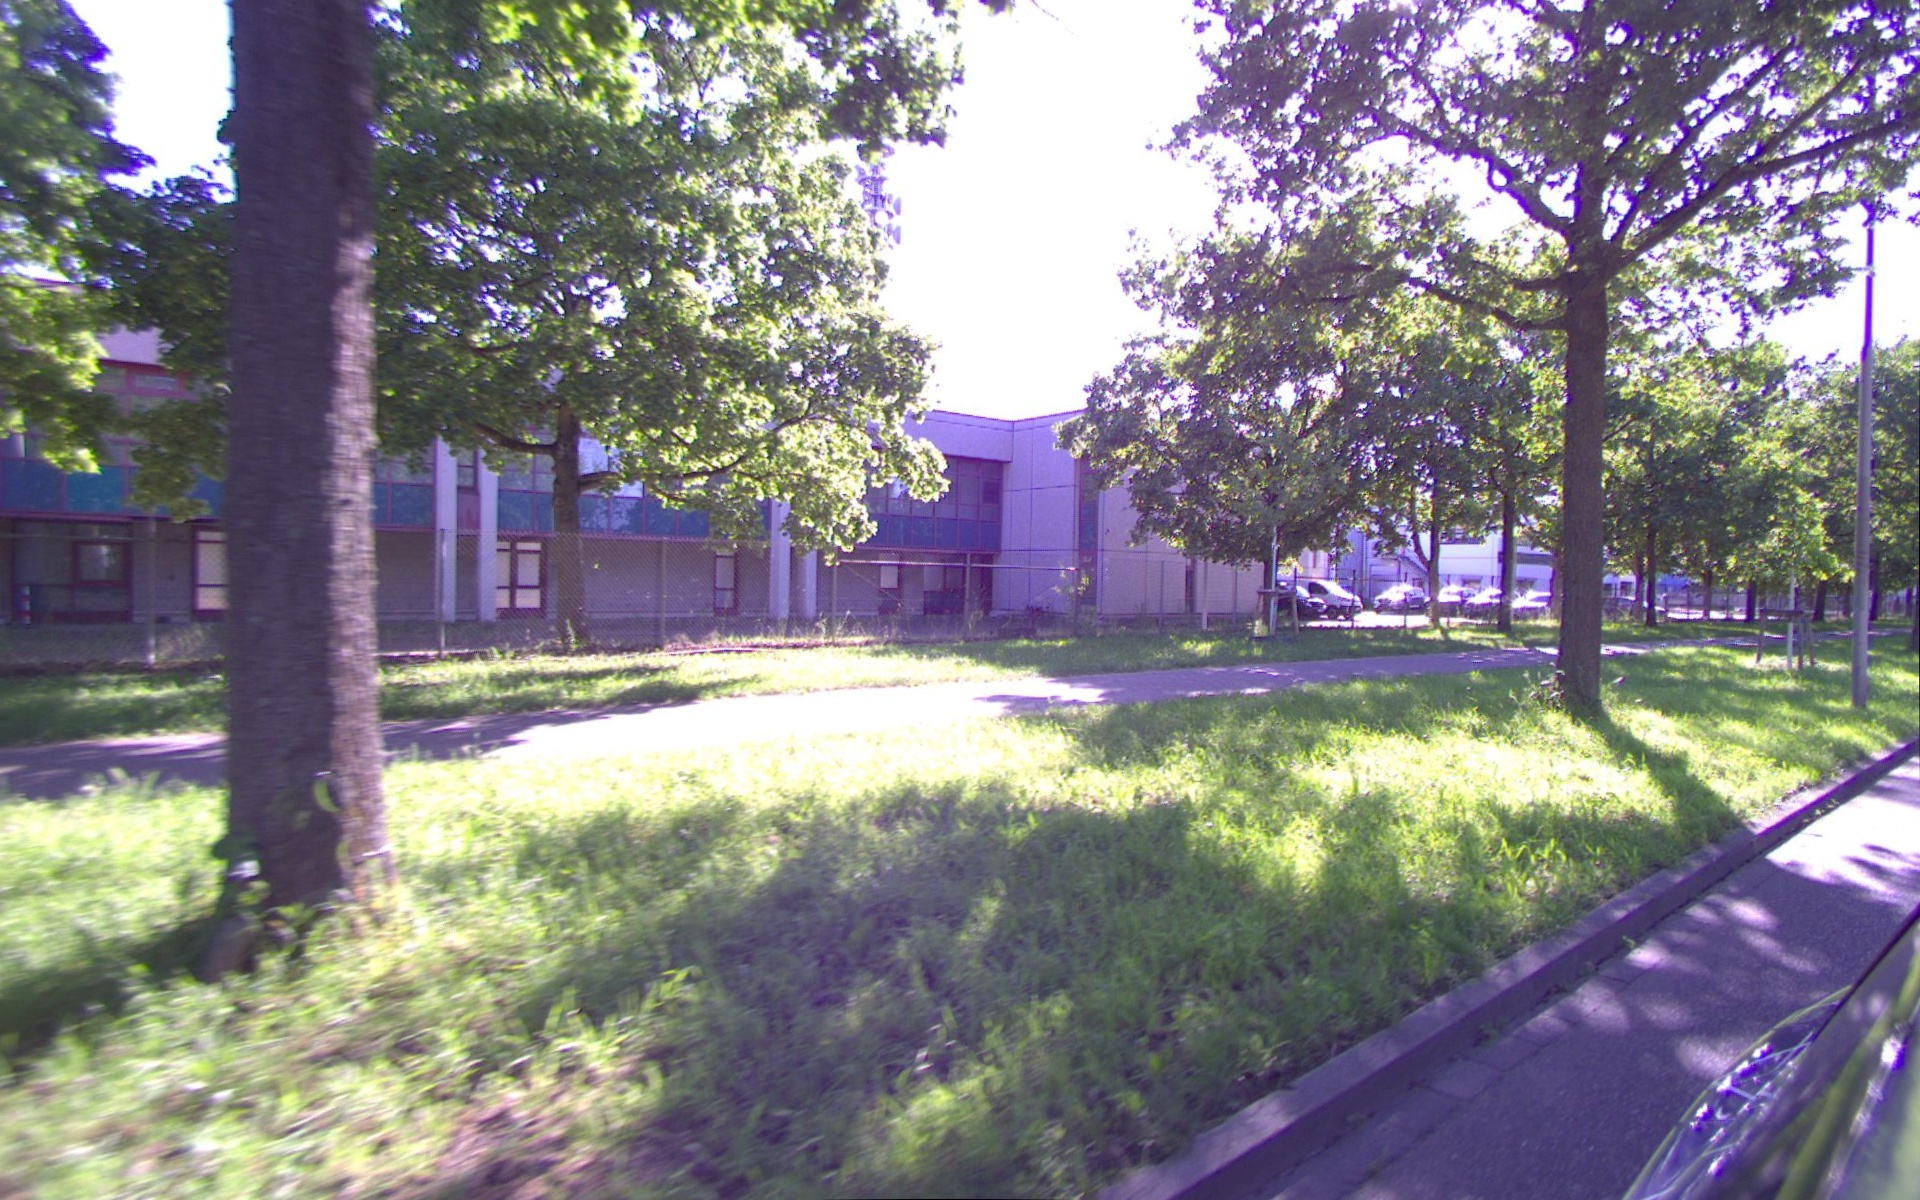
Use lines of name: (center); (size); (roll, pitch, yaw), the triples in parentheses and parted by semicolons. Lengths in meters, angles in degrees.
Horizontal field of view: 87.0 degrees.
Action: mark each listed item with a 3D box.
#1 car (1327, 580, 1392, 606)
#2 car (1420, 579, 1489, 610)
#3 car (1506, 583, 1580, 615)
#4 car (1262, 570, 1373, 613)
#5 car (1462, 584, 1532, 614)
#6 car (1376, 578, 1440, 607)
car: (26.106, -0.481, 66.086); (4.369, 1.677, 1.701); (0, 0, -33)
car: (29.104, -0.321, 59.542); (4.377, 1.694, 1.998); (0, 2, -40)
car: (31.895, -0.077, 55.299); (4.632, 1.626, 1.998); (-1, 2, -40)
car: (18.400, -0.498, 52.292); (1.863, 1.983, 5.071); (0, 3, -42)
car: (30.704, -0.068, 57.822); (4.377, 1.578, 1.998); (0, 2, -40)
car: (27.419, -0.465, 61.894); (4.381, 1.694, 1.996); (-1, 0, -43)
